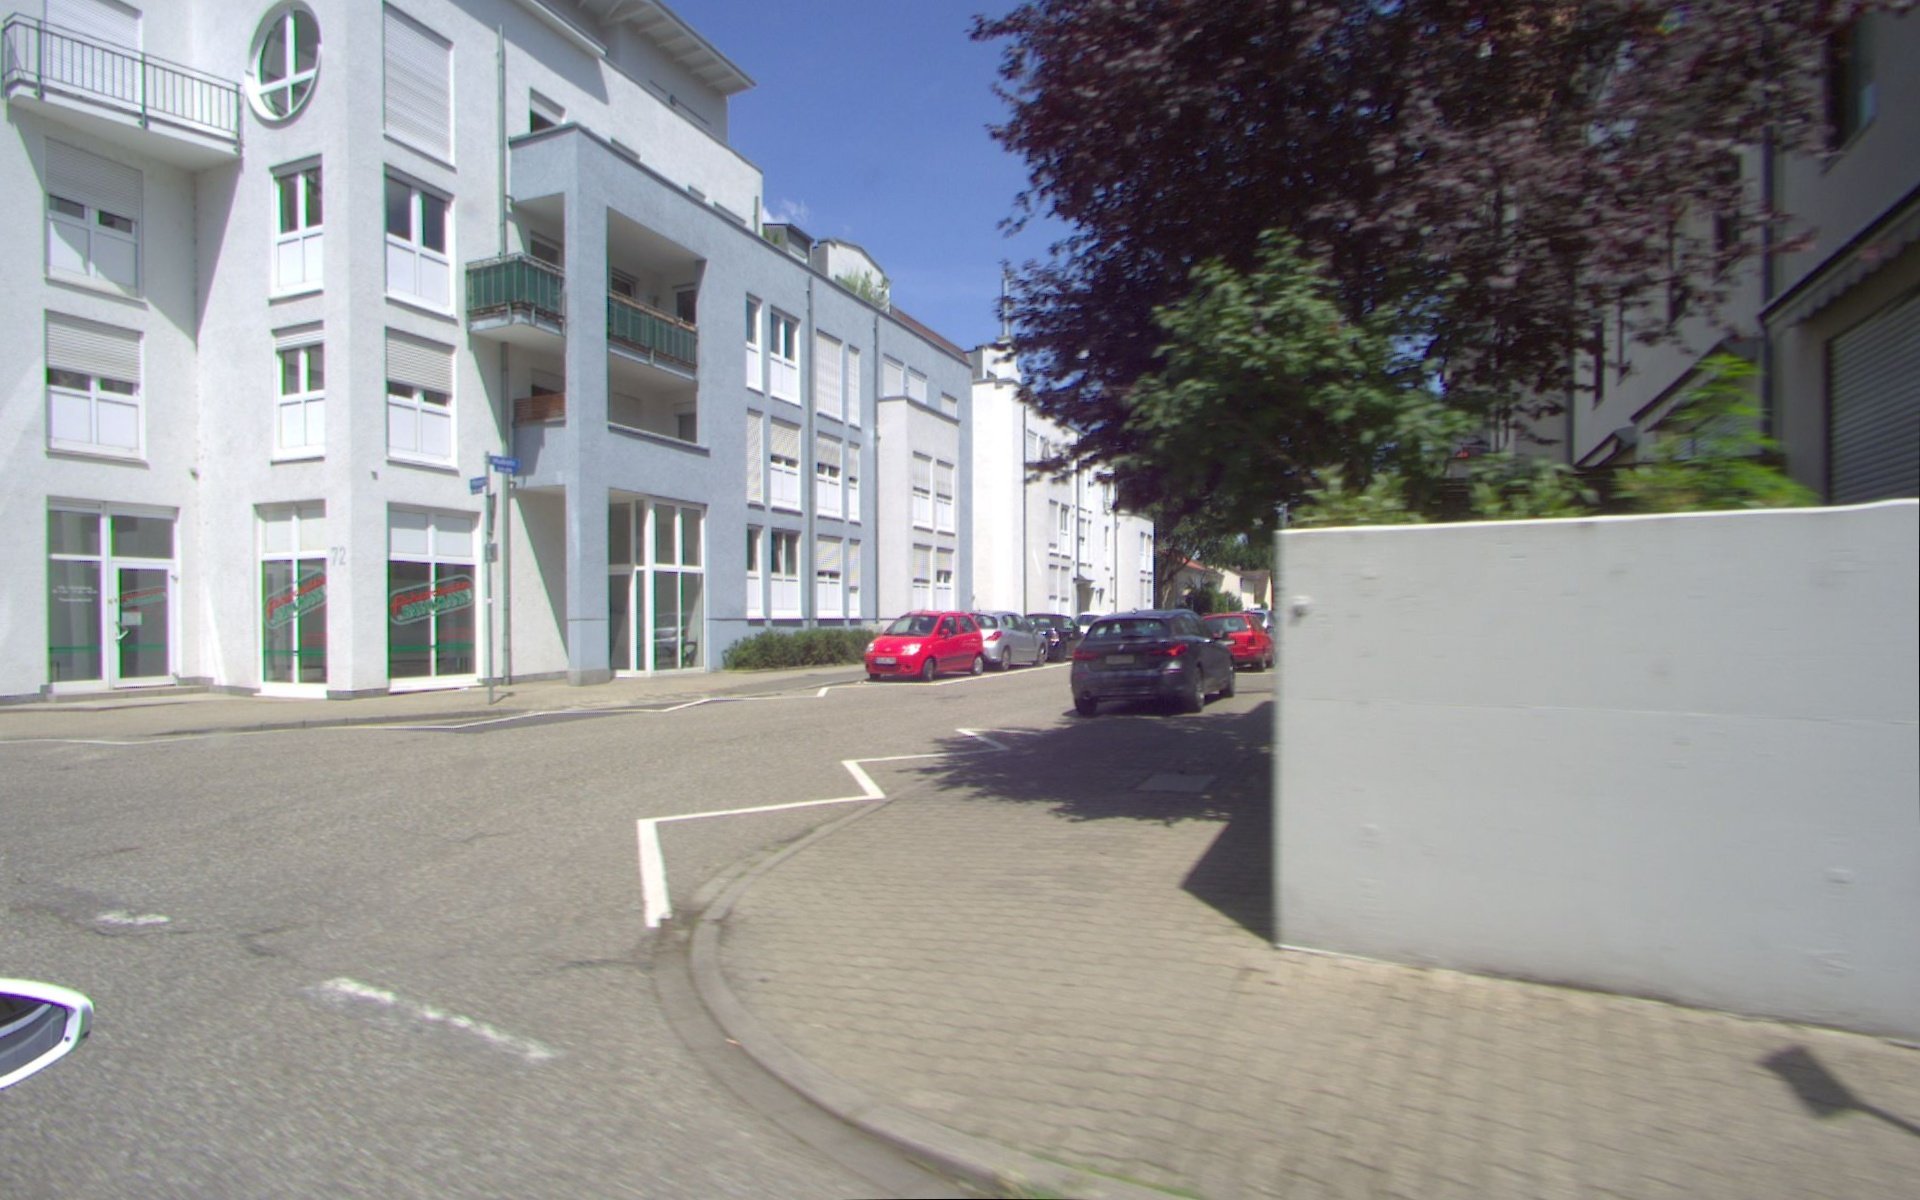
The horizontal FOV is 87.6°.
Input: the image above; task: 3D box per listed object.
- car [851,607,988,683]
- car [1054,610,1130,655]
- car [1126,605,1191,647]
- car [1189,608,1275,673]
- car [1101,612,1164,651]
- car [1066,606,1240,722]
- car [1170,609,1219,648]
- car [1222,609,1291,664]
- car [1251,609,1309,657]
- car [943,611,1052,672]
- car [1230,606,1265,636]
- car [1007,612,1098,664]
[{"bbox_3d":[-0.830,0.960,22.464,1.571,1.561,3.505,0,-1,27],"label":"car"},{"bbox_3d":[4.653,1.101,35.007,1.627,1.485,3.572,0,-1,25],"label":"car"},{"bbox_3d":[8.974,1.175,45.047,1.968,1.777,3.988,0,-1,25],"label":"car"},{"bbox_3d":[6.832,0.976,24.952,1.626,1.485,3.777,0,-1,22],"label":"car"},{"bbox_3d":[7.094,1.267,40.937,1.627,1.485,3.572,0,-1,25],"label":"car"},{"bbox_3d":[3.035,0.844,15.086,1.709,1.487,3.988,-1,0,24],"label":"car"},{"bbox_3d":[13.091,1.591,55.802,1.967,2.038,3.991,0,-3,24],"label":"car"},{"bbox_3d":[9.076,1.073,30.493,1.510,1.578,3.775,0,-1,25],"label":"car"},{"bbox_3d":[11.172,1.120,34.827,1.510,1.578,3.775,0,-1,25],"label":"car"},{"bbox_3d":[1.054,1.054,26.350,1.511,1.485,3.774,0,-1,25],"label":"car"},{"bbox_3d":[21.342,1.596,74.302,1.967,2.038,3.991,0,-3,24],"label":"car"},{"bbox_3d":[2.925,1.136,30.968,1.627,1.485,3.774,0,-1,25],"label":"car"}]
